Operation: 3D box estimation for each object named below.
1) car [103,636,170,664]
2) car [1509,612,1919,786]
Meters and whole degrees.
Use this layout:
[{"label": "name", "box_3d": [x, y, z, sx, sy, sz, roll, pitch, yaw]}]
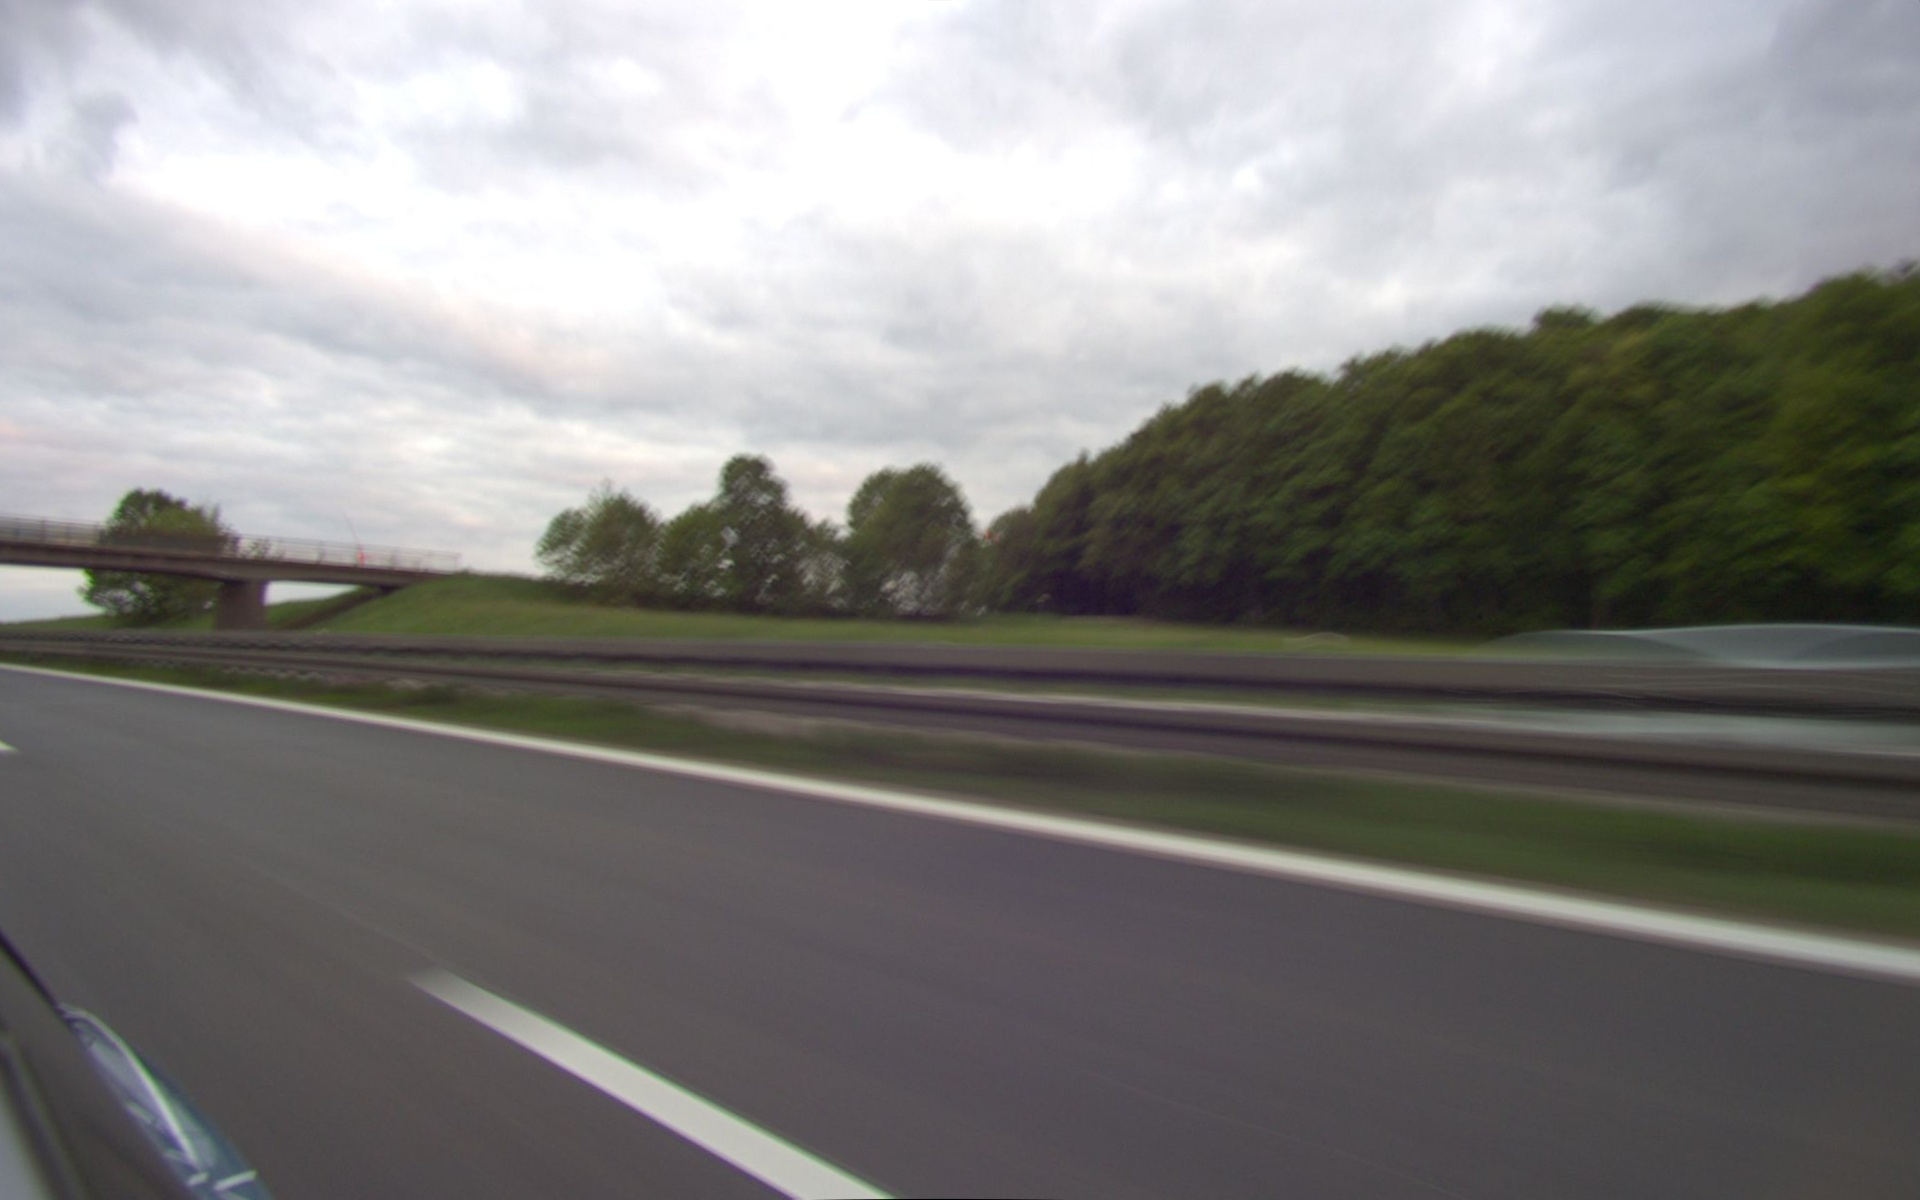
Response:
[{"label": "car", "box_3d": [-44.328, 2.672, 54.447, 4.671, 1.453, 1.781, -2, -2, 37]}, {"label": "car", "box_3d": [8.695, 0.984, 11.084, 4.472, 1.652, 1.736, -1, -2, 39]}]
